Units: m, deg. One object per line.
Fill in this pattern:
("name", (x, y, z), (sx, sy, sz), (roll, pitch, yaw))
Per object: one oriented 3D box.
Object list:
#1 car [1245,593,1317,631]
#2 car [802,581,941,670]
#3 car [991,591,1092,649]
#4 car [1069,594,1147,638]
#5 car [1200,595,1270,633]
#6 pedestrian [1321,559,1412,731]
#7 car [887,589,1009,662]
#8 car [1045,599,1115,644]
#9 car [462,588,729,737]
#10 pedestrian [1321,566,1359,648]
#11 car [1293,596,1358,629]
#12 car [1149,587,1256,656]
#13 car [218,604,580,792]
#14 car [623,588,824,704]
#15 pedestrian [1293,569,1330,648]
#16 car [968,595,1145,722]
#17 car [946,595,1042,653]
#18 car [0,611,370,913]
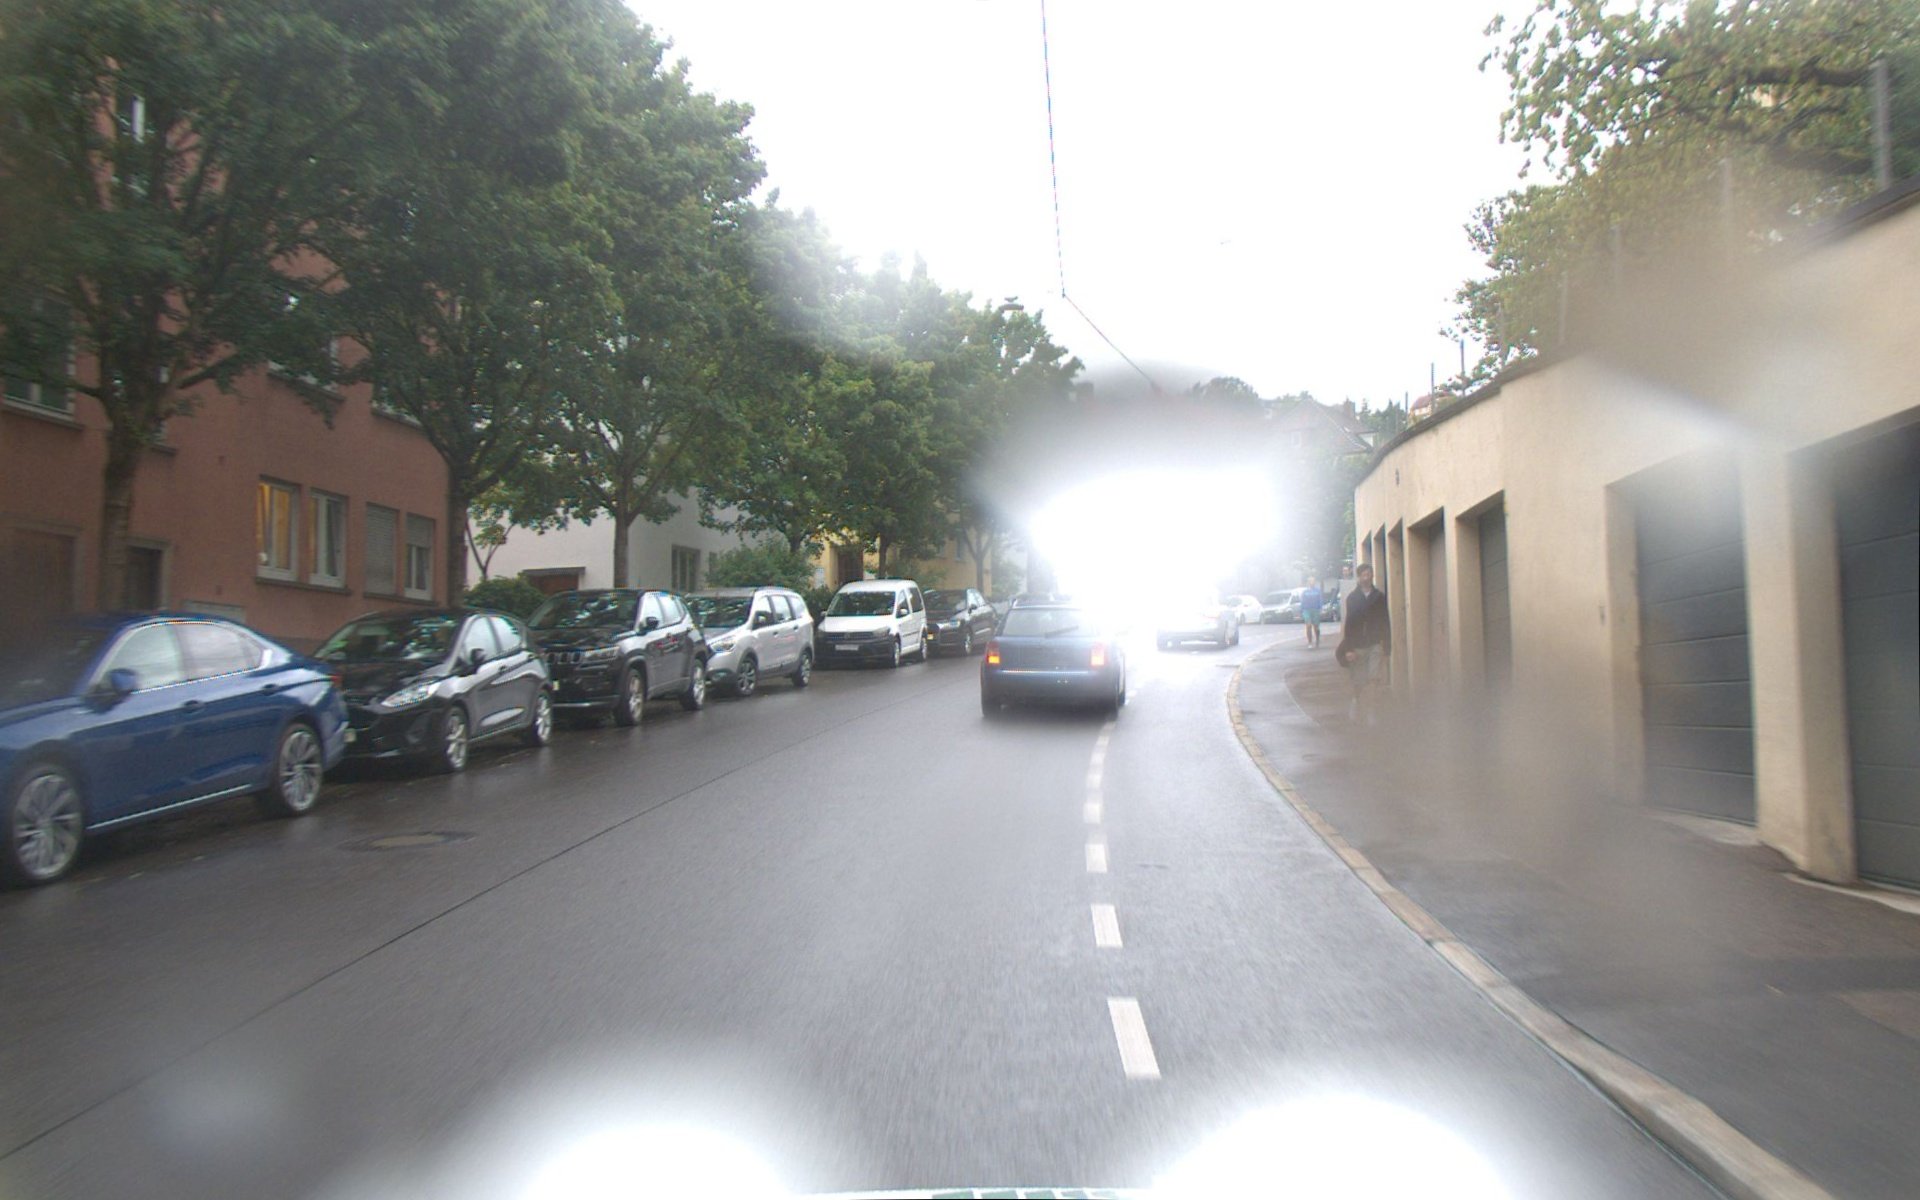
("car", (15.728, 0.628, 80.911), (1.753, 1.675, 4.331), (-6, -4, 34))
("car", (-1.848, 0.516, 35.971), (1.814, 1.808, 4.486), (-1, 0, 13))
("car", (2.603, 0.601, 51.854), (1.816, 1.720, 4.555), (-1, 0, 21))
("car", (5.538, 0.580, 61.406), (1.738, 1.567, 4.517), (-1, 0, 20))
("car", (12.686, 0.658, 76.122), (1.751, 1.541, 4.338), (-6, -4, 29))
("pedestrian", (4.579, 0.500, 18.689), (0.880, 1.883, 0.803), (-1, -1, 7))
("car", (-0.223, 0.600, 41.327), (1.814, 1.697, 4.591), (-1, 0, 16))
("car", (4.153, 0.712, 56.689), (1.579, 1.421, 4.326), (-2, 0, 15))
("car", (-4.452, 0.708, 20.947), (1.749, 1.670, 4.484), (-1, 0, 9))
("pedestrian", (8.842, 0.166, 38.485), (0.759, 1.864, 1.252), (-3, -1, 13))
("car", (18.870, 0.667, 85.270), (1.773, 1.512, 4.223), (-5, -4, 33))
("car", (6.216, 0.487, 42.047), (1.909, 1.588, 4.265), (1, 1, 19))
("car", (-5.151, 0.817, 15.868), (1.750, 1.519, 4.363), (-1, 0, 3))
("car", (-3.740, 0.686, 27.005), (1.709, 1.720, 4.604), (-1, 0, 13))
("pedestrian", (8.216, 0.193, 38.650), (0.758, 1.789, 1.012), (-3, -1, 13))
("car", (1.379, 0.702, 21.716), (1.814, 1.438, 4.365), (-2, -1, 9))
("car", (1.004, 0.629, 46.256), (1.814, 1.525, 4.745), (-1, 0, 12))
("car", (-5.638, 0.859, 10.328), (1.749, 1.519, 4.865), (-1, 0, 6))
